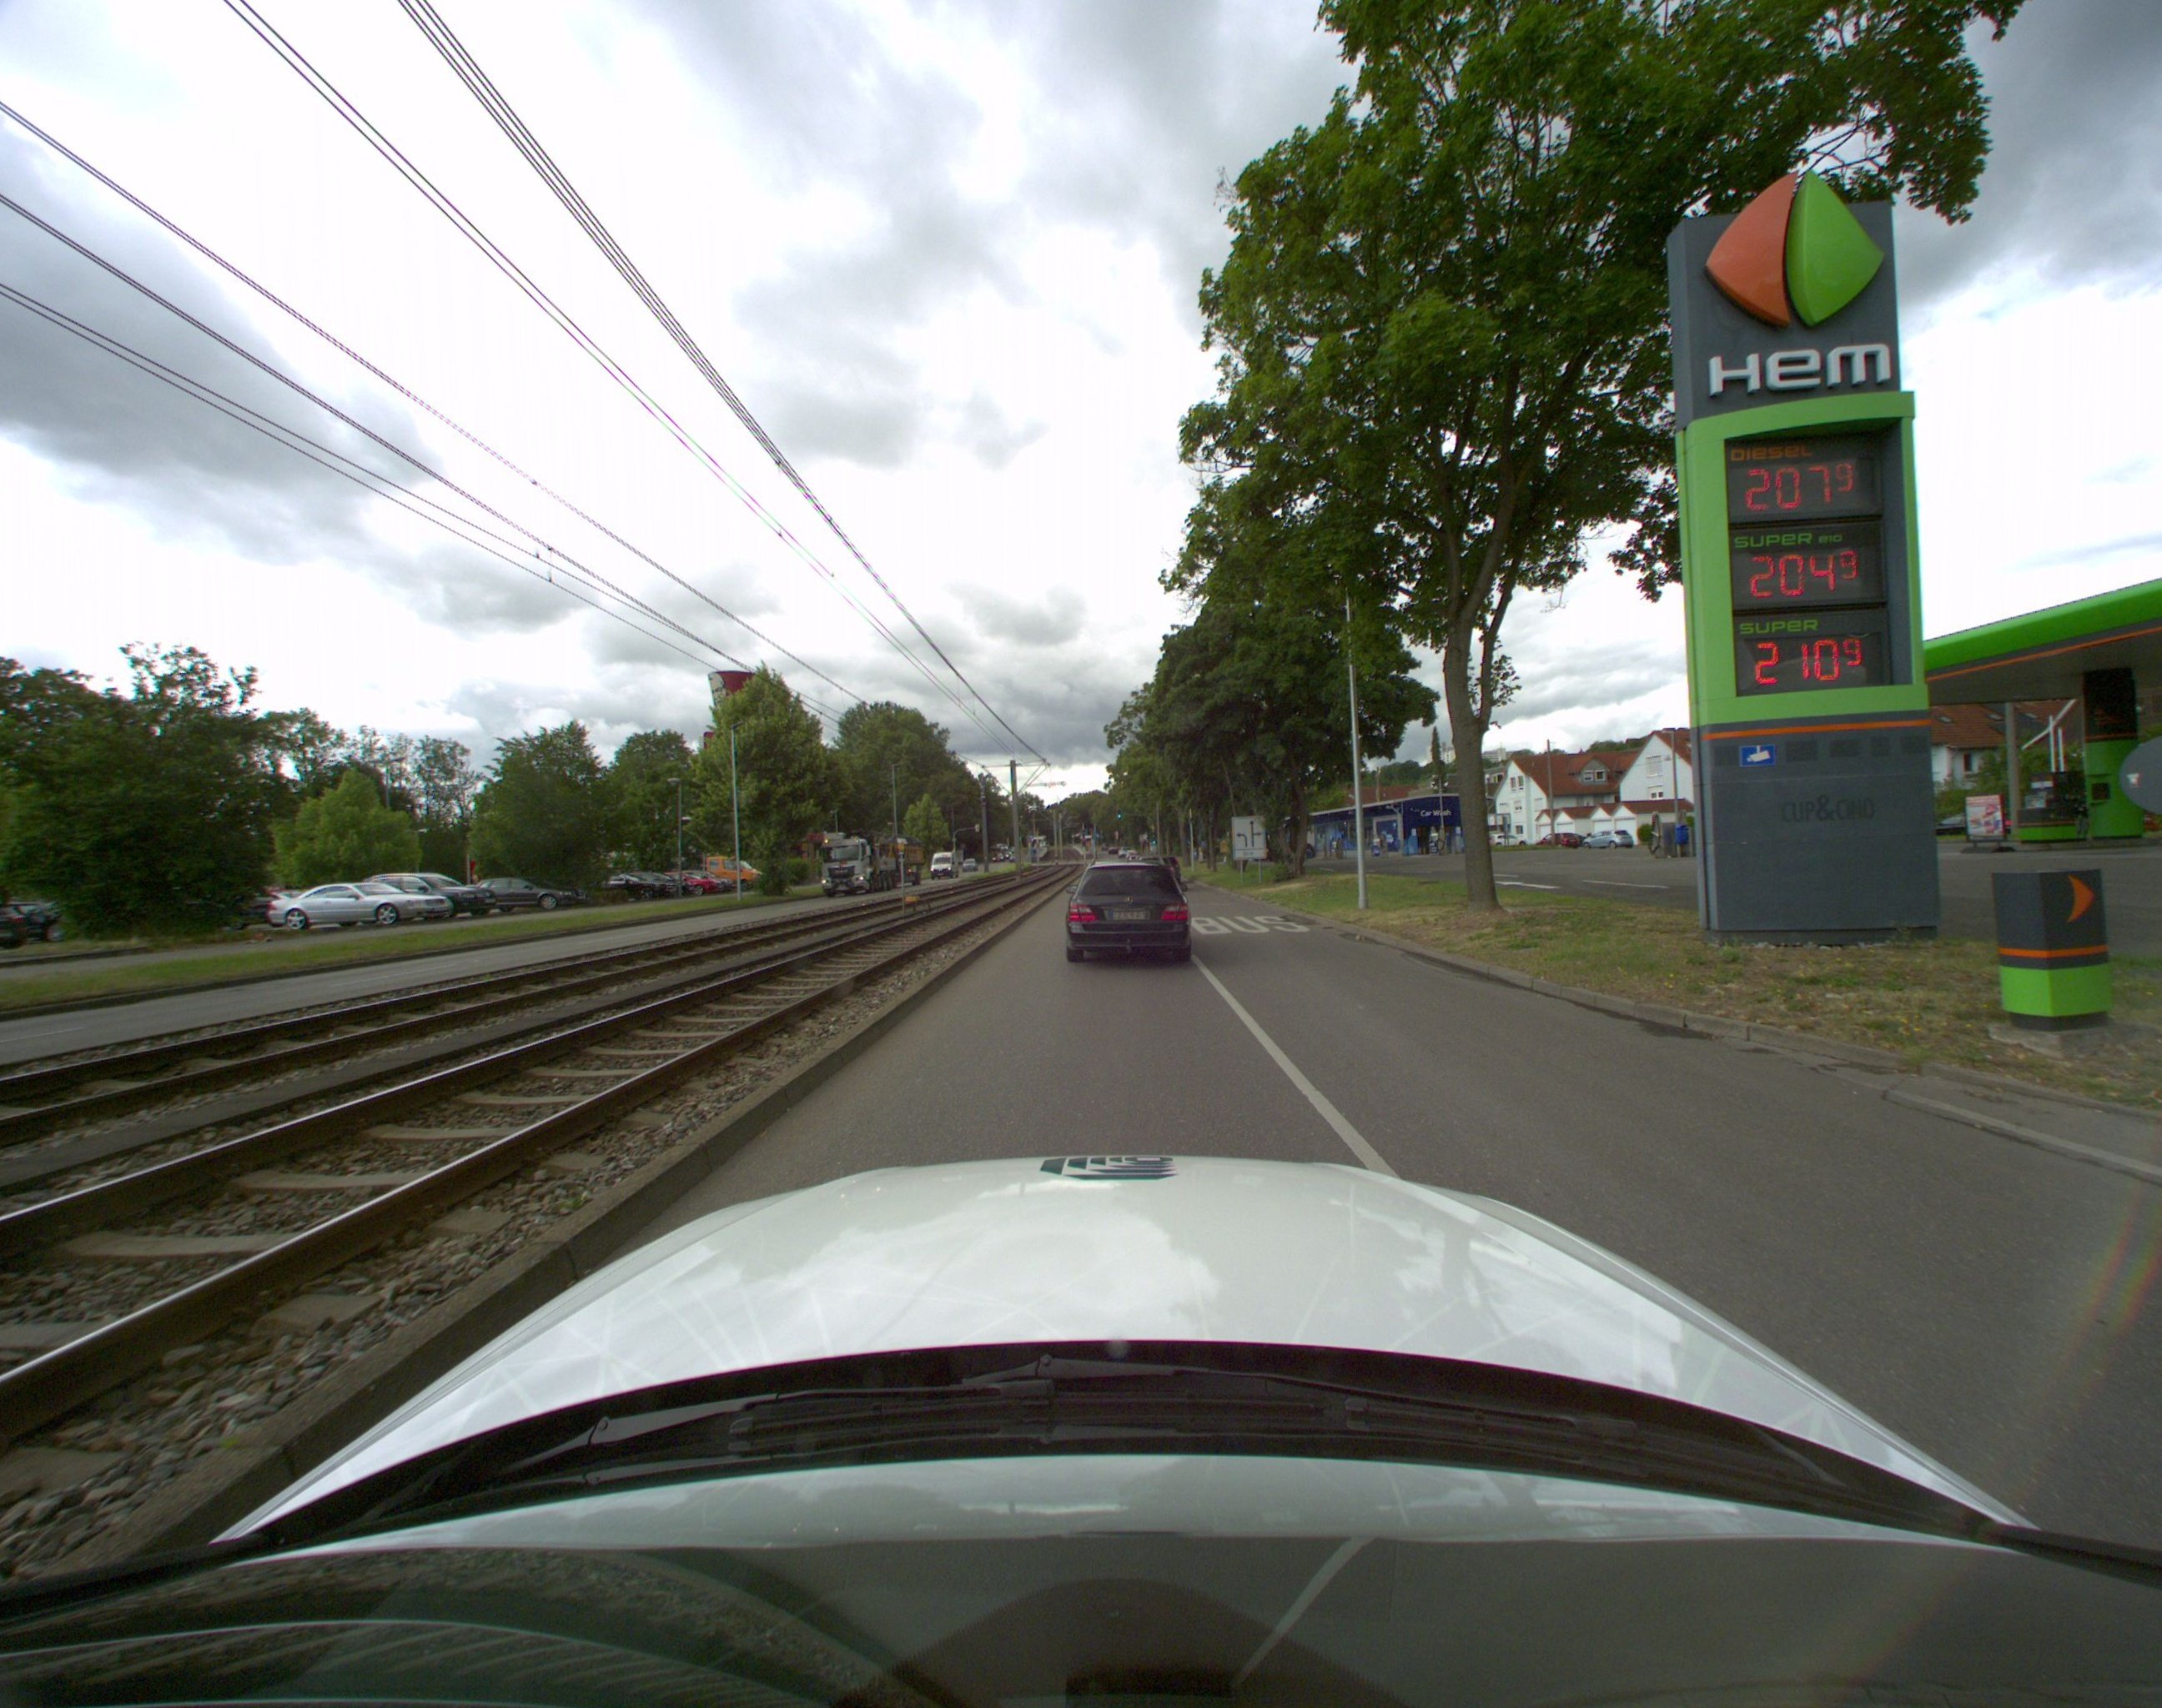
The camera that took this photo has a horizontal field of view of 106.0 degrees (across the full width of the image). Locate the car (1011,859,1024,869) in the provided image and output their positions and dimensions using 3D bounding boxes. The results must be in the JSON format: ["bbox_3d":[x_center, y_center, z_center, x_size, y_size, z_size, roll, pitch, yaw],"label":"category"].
[{"bbox_3d":[-10.562,1.722,136.121,1.758,1.647,3.772,-1,0,2],"label":"car"}]

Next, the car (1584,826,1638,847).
[{"bbox_3d":[42.556,-1.382,65.481,1.533,1.599,3.723,-1,0,-10],"label":"car"}]

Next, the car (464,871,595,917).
[{"bbox_3d":[-22.631,1.609,33.548,3.978,1.599,1.876,-3,0,-3],"label":"car"}]

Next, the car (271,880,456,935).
[{"bbox_3d":[-22.768,1.668,25.968,4.294,1.472,1.680,-2,0,-1],"label":"car"}]

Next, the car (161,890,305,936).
[{"bbox_3d":[-34.106,2.357,32.822,3.940,1.507,1.683,-3,0,0],"label":"car"}]

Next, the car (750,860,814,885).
[{"bbox_3d":[-21.974,1.313,59.904,3.978,1.599,1.794,-3,0,-3],"label":"car"}]

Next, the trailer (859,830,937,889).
[{"bbox_3d":[-12.958,0.367,59.047,2.697,3.660,13.291,-3,0,-1],"label":"trailer"}]

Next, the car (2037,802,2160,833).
[{"bbox_3d":[47.765,-1.686,38.320,1.416,1.264,3.323,-1,0,-10],"label":"car"}]

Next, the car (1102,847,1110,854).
[{"bbox_3d":[5.899,-0.868,191.283,1.662,1.532,3.768,-1,0,-2],"label":"car"}]

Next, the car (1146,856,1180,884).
[{"bbox_3d":[4.363,0.844,43.492,1.565,1.414,3.355,-1,-1,2],"label":"car"}]

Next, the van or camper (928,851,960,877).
[{"bbox_3d":[-13.147,0.961,78.667,1.987,2.354,5.764,-3,0,0],"label":"van or camper"}]

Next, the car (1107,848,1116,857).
[{"bbox_3d":[6.469,-0.354,173.712,1.986,1.838,4.001,-1,0,1],"label":"car"}]

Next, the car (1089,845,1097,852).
[{"bbox_3d":[3.300,-1.327,215.153,1.986,1.714,4.001,-3,0,2],"label":"car"}]

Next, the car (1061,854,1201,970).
[{"bbox_3d":[0.711,0.768,12.615,1.802,1.474,3.882,-1,0,2],"label":"car"}]

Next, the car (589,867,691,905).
[{"bbox_3d":[-21.975,1.574,40.732,3.978,1.599,1.876,-3,0,-3],"label":"car"}]

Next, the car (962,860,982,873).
[{"bbox_3d":[-13.700,1.566,102.492,1.758,1.647,3.772,-1,0,2],"label":"car"}]

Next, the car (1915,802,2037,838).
[{"bbox_3d":[46.809,-1.750,42.730,1.755,1.689,3.985,-1,0,-10],"label":"car"}]

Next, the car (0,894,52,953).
[{"bbox_3d":[-34.134,2.203,24.305,4.271,1.684,1.939,-3,0,0],"label":"car"}]

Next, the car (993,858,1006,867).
[{"bbox_3d":[-14.475,1.520,144.855,1.758,1.647,3.772,-1,0,2],"label":"car"}]

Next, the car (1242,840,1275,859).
[{"bbox_3d":[17.115,-0.440,78.427,1.987,1.682,4.607,-3,0,26],"label":"car"}]

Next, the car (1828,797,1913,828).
[{"bbox_3d":[51.188,-2.671,52.915,1.683,1.684,4.002,-3,0,2],"label":"car"}]

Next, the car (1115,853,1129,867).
[{"bbox_3d":[5.816,0.852,116.083,1.986,1.838,4.001,-1,0,1],"label":"car"}]

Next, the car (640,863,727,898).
[{"bbox_3d":[-22.454,1.492,46.114,3.978,1.797,1.876,-1,0,-3],"label":"car"}]

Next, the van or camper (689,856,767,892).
[{"bbox_3d":[-22.096,1.230,51.083,3.978,2.135,1.876,-1,0,-3],"label":"van or camper"}]

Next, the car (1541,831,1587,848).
[{"bbox_3d":[41.736,-1.240,70.506,1.581,1.394,3.405,-1,0,-10],"label":"car"}]

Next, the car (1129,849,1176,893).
[{"bbox_3d":[3.010,0.696,34.762,1.774,1.750,3.719,-1,-1,2],"label":"car"}]

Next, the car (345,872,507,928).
[{"bbox_3d":[-22.907,1.571,28.610,3.978,1.635,1.876,-3,0,-3],"label":"car"}]

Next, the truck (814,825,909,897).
[{"bbox_3d":[-12.761,0.401,48.659,2.699,3.663,11.106,-3,0,-1],"label":"truck"}]

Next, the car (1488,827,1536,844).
[{"bbox_3d":[45.856,-2.005,86.643,4.203,1.684,1.777,-1,-1,-1],"label":"car"}]
